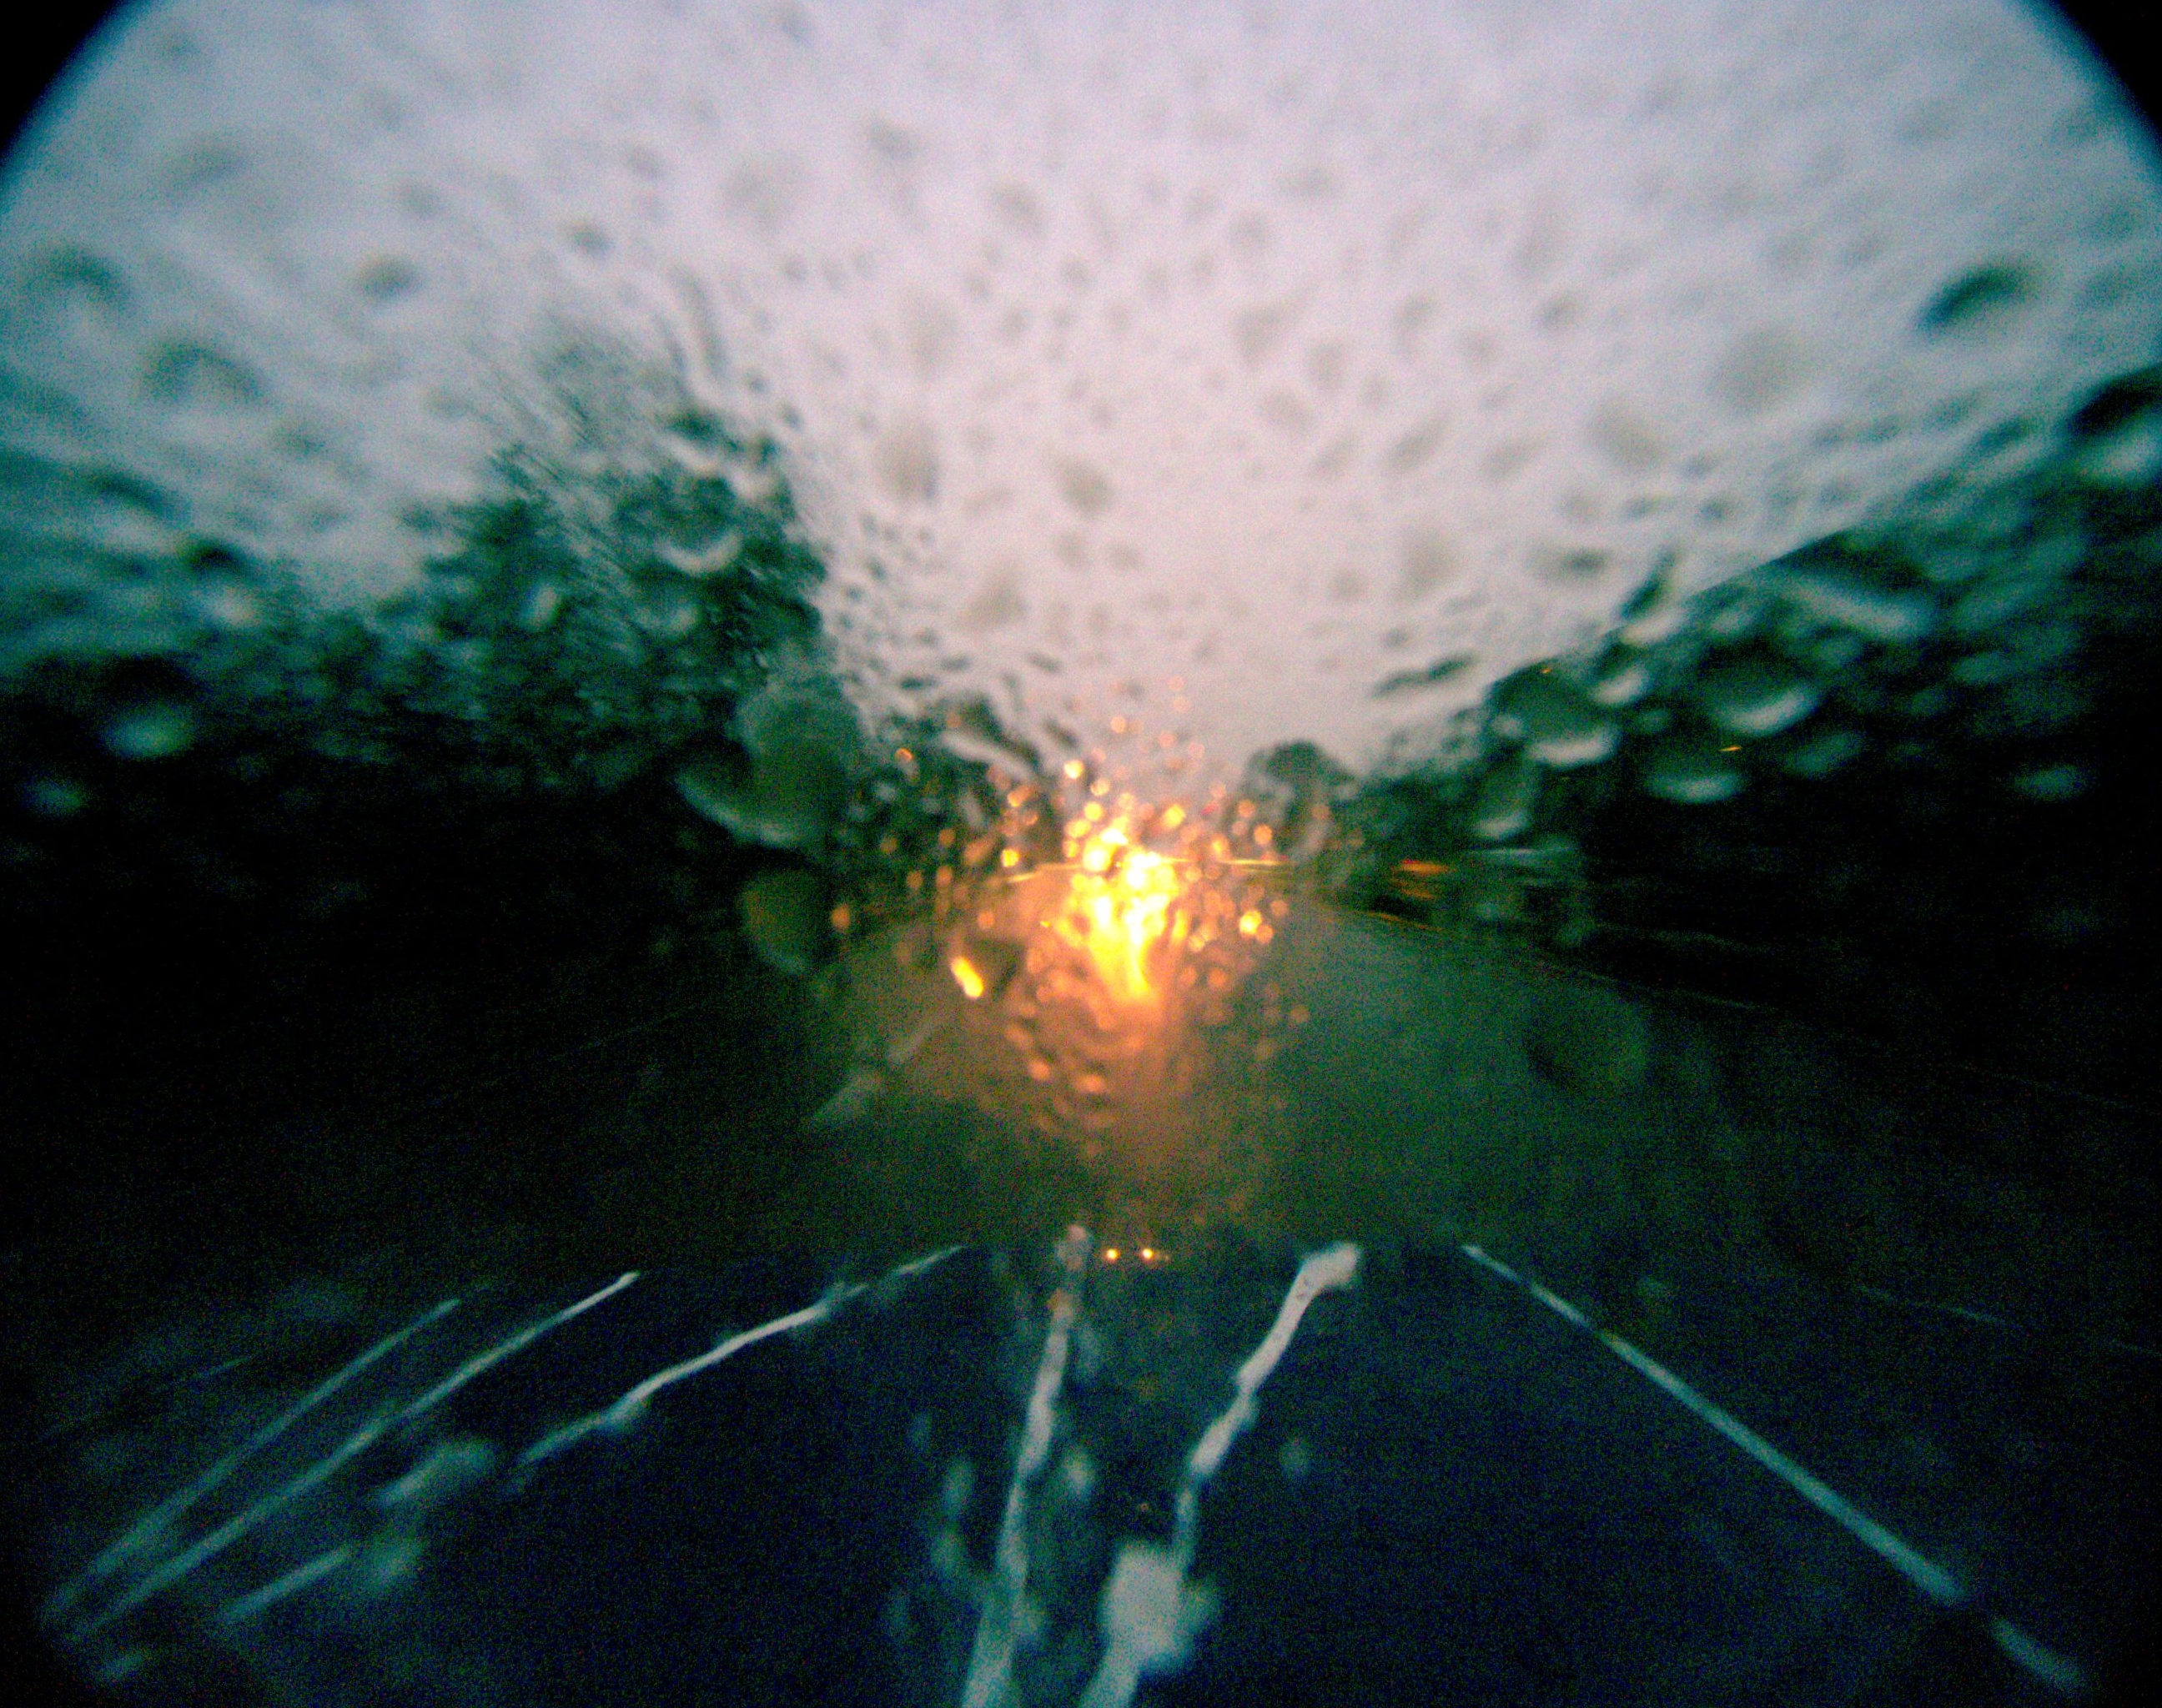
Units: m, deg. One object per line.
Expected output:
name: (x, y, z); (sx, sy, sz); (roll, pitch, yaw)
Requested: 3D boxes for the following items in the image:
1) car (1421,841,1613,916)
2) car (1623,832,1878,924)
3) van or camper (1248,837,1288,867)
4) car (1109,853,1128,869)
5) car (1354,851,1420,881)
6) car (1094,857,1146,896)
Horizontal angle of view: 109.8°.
car: (10.974, 0.551, 19.715); (1.998, 1.517, 5.375); (-4, 0, 2)
car: (15.414, 0.481, 17.967); (1.998, 1.743, 4.901); (-4, 0, 7)
van or camper: (17.838, -0.193, 72.810); (2.081, 2.556, 7.405); (-4, 0, 2)
car: (4.059, 0.709, 83.257); (1.841, 1.553, 3.867); (-4, 0, 1)
car: (15.851, 0.580, 39.600); (1.900, 1.352, 4.209); (-4, 0, 3)
car: (1.788, 0.917, 33.134); (1.951, 1.511, 4.789); (-2, 0, 6)
